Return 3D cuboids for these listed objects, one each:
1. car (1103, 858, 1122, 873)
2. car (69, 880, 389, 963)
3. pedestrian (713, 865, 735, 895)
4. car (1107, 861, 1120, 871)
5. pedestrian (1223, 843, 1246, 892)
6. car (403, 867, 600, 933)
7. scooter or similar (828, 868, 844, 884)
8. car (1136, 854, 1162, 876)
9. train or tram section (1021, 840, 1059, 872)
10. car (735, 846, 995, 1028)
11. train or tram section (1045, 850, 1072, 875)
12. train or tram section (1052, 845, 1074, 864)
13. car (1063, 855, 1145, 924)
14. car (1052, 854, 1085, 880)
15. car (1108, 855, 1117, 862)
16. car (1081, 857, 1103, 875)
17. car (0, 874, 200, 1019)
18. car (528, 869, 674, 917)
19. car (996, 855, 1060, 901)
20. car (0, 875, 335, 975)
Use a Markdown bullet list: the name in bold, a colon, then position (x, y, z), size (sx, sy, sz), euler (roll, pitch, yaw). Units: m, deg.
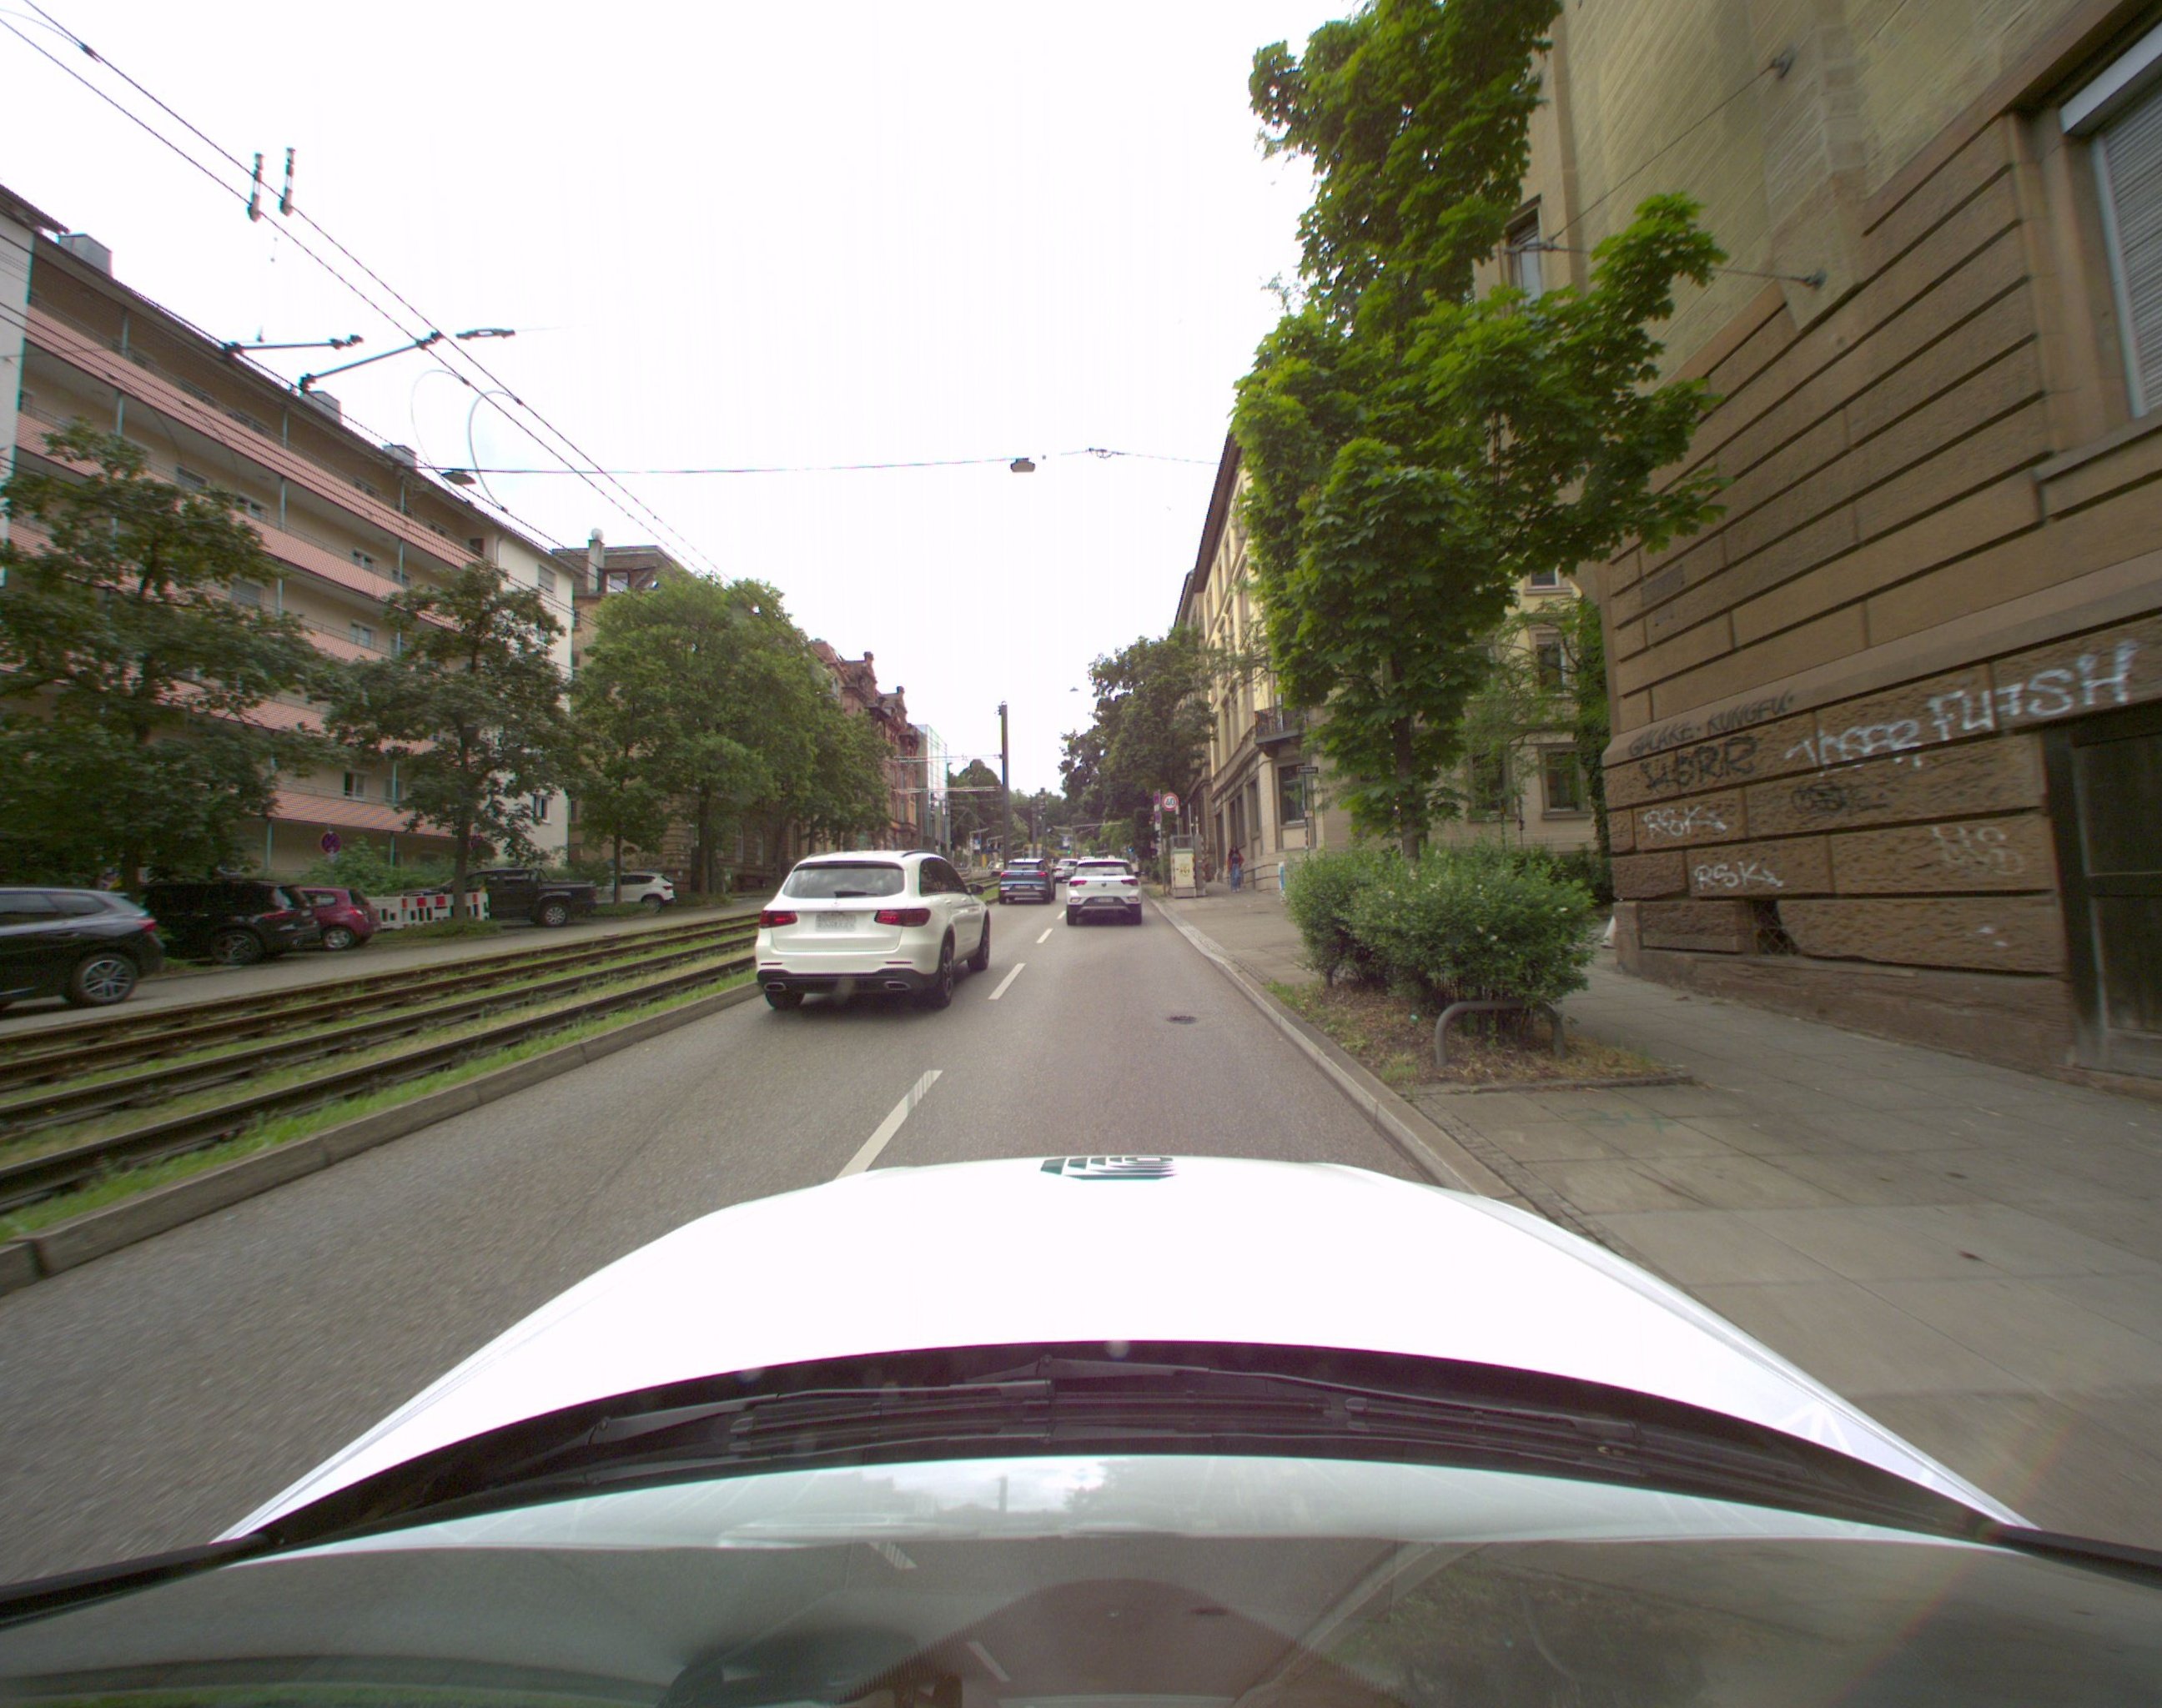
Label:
- **car**: position (3.544, 1.294, 91.837), size (2.060, 1.546, 4.195), euler (0, -1, 2)
- **car**: position (-18.822, 1.421, 18.371), size (4.623, 1.548, 1.917), euler (0, -1, -32)
- **pedestrian**: position (-20.716, 1.477, 47.245), size (0.828, 1.684, 0.848), euler (-3, -1, 0)
- **car**: position (5.385, 2.002, 133.426), size (2.060, 1.546, 4.195), euler (0, -1, 2)
- **pedestrian**: position (5.456, 0.468, 28.899), size (0.705, 1.662, 1.130), euler (-2, 0, 11)
- **car**: position (-17.530, 1.304, 24.799), size (4.634, 1.797, 1.912), euler (0, -1, -45)
- **scooter or similar**: position (-20.406, 1.840, 67.767), size (0.627, 1.255, 2.214), euler (-2, 0, 0)
- **car**: position (5.422, 0.871, 65.276), size (1.828, 1.601, 4.195), euler (-4, -1, 2)
- **train or tram section**: position (-4.651, 0.249, 95.340), size (2.983, 3.349, 13.448), euler (-2, -1, 3)
- **car**: position (-2.249, 0.785, 9.876), size (1.829, 1.667, 4.671), euler (0, -1, 1)
- **train or tram section**: position (-3.291, 1.267, 122.368), size (2.983, 3.349, 13.448), euler (-2, -1, 3)
- **train or tram section**: position (-3.228, 0.107, 152.791), size (2.983, 3.349, 13.448), euler (-2, -1, 3)
- **car**: position (0.560, 0.822, 20.402), size (1.829, 1.546, 4.194), euler (0, -1, 1)
- **car**: position (-0.752, 0.823, 51.413), size (1.828, 1.546, 4.195), euler (0, -1, 2)
- **car**: position (7.131, 1.078, 186.384), size (2.060, 1.546, 4.195), euler (0, -1, 2)
- **car**: position (1.042, 1.059, 72.741), size (1.828, 1.546, 4.195), euler (0, -1, 2)
- **car**: position (-13.674, 1.169, 9.377), size (1.910, 1.650, 4.608), euler (-3, 0, 1)
- **car**: position (-18.018, 1.409, 30.703), size (4.623, 1.617, 1.916), euler (0, -1, -32)
- **car**: position (-1.827, 0.826, 29.340), size (1.828, 1.546, 4.195), euler (0, -1, 2)
- **car**: position (-18.058, 1.293, 16.052), size (4.623, 1.682, 1.917), euler (0, -1, -32)
